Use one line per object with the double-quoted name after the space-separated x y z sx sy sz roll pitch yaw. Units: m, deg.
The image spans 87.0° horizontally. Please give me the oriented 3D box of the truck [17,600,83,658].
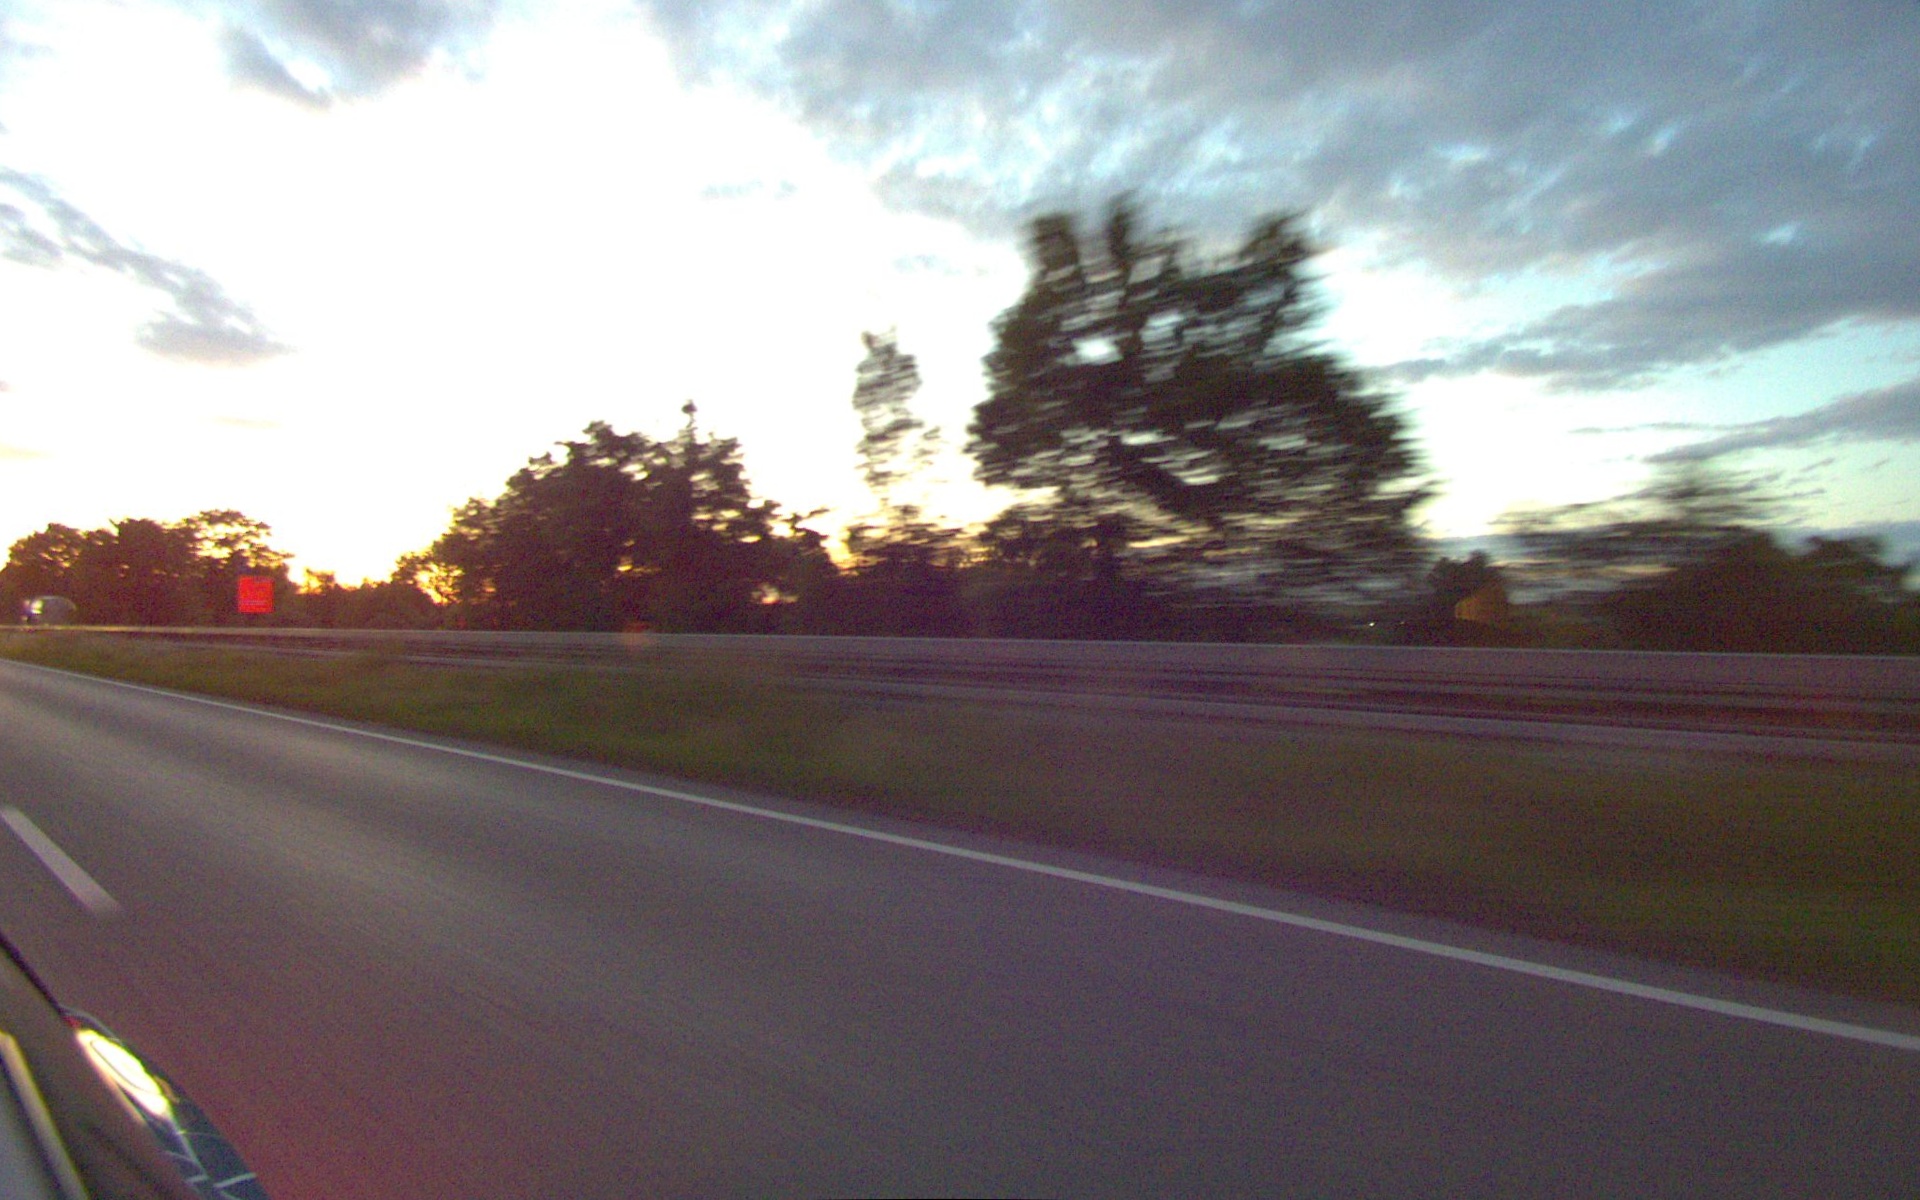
-87.465 2.699 97.206 12.602 5.295 3.169 -1 -1 41 "truck"
